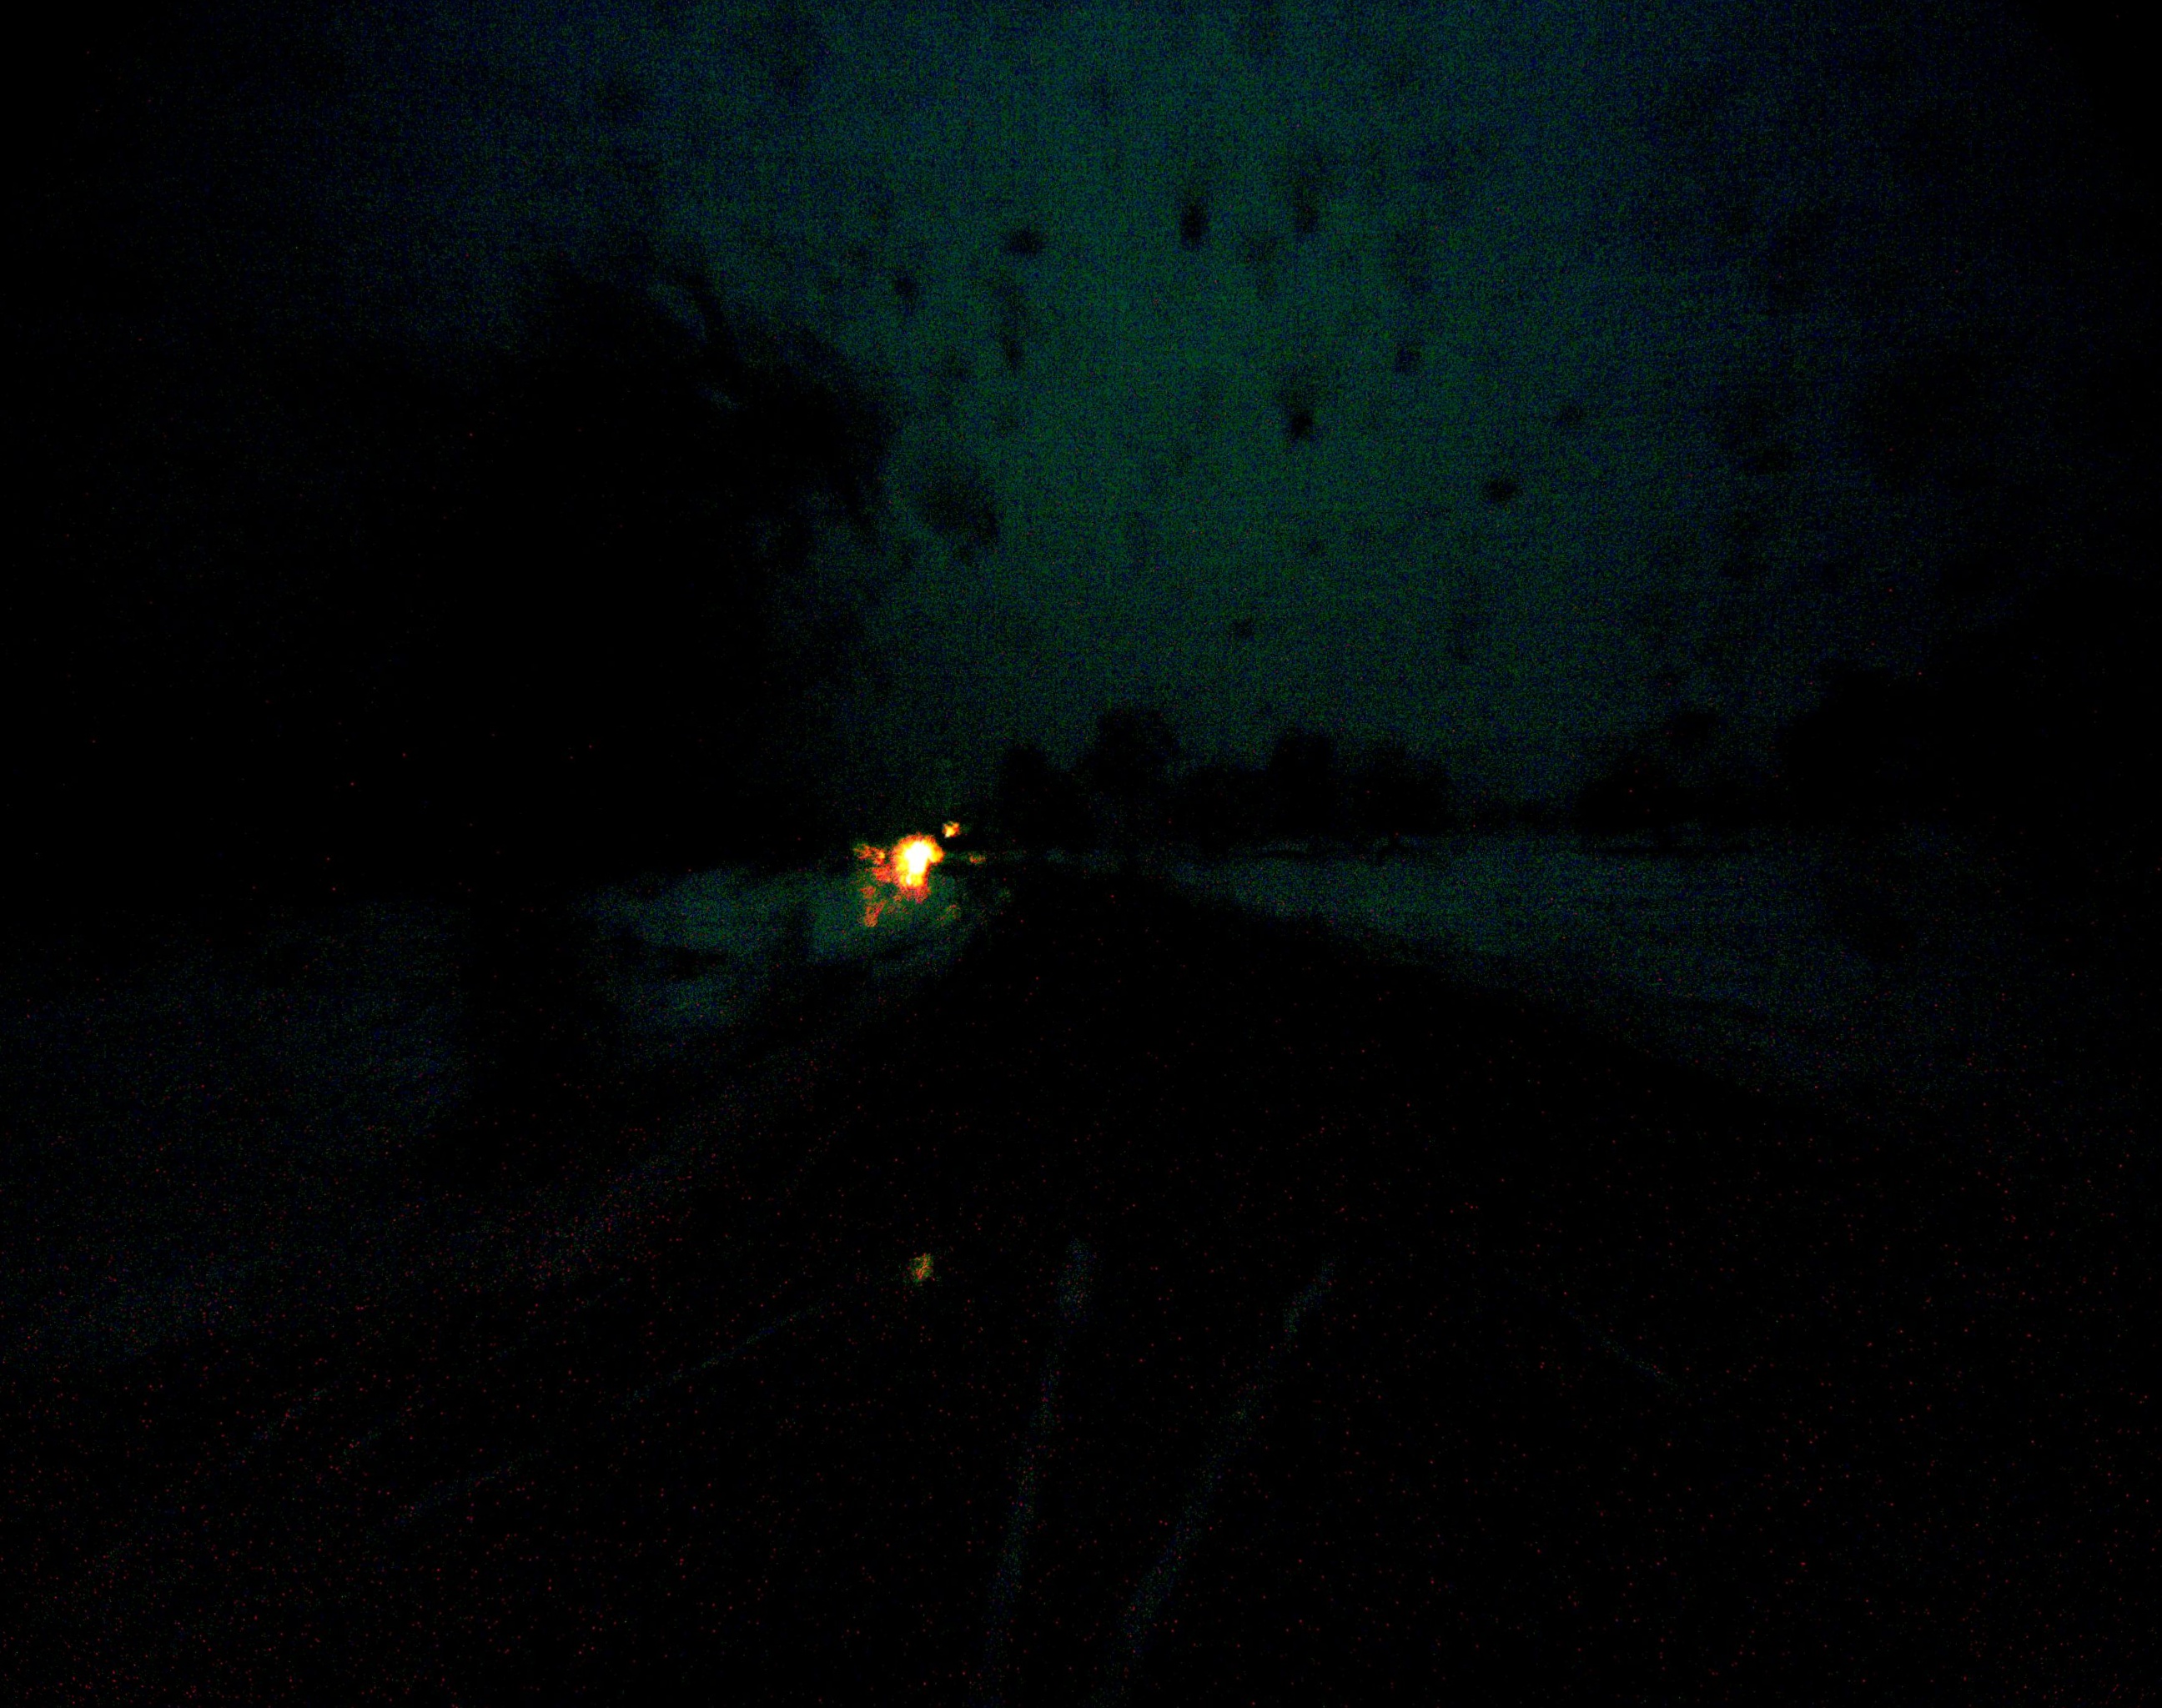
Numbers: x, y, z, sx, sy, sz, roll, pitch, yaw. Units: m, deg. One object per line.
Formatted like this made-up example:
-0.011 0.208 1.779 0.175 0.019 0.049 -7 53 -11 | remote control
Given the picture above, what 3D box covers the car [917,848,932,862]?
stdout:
-24.446 0.092 118.532 2.001 2.003 3.994 -4 2 -15 | car
